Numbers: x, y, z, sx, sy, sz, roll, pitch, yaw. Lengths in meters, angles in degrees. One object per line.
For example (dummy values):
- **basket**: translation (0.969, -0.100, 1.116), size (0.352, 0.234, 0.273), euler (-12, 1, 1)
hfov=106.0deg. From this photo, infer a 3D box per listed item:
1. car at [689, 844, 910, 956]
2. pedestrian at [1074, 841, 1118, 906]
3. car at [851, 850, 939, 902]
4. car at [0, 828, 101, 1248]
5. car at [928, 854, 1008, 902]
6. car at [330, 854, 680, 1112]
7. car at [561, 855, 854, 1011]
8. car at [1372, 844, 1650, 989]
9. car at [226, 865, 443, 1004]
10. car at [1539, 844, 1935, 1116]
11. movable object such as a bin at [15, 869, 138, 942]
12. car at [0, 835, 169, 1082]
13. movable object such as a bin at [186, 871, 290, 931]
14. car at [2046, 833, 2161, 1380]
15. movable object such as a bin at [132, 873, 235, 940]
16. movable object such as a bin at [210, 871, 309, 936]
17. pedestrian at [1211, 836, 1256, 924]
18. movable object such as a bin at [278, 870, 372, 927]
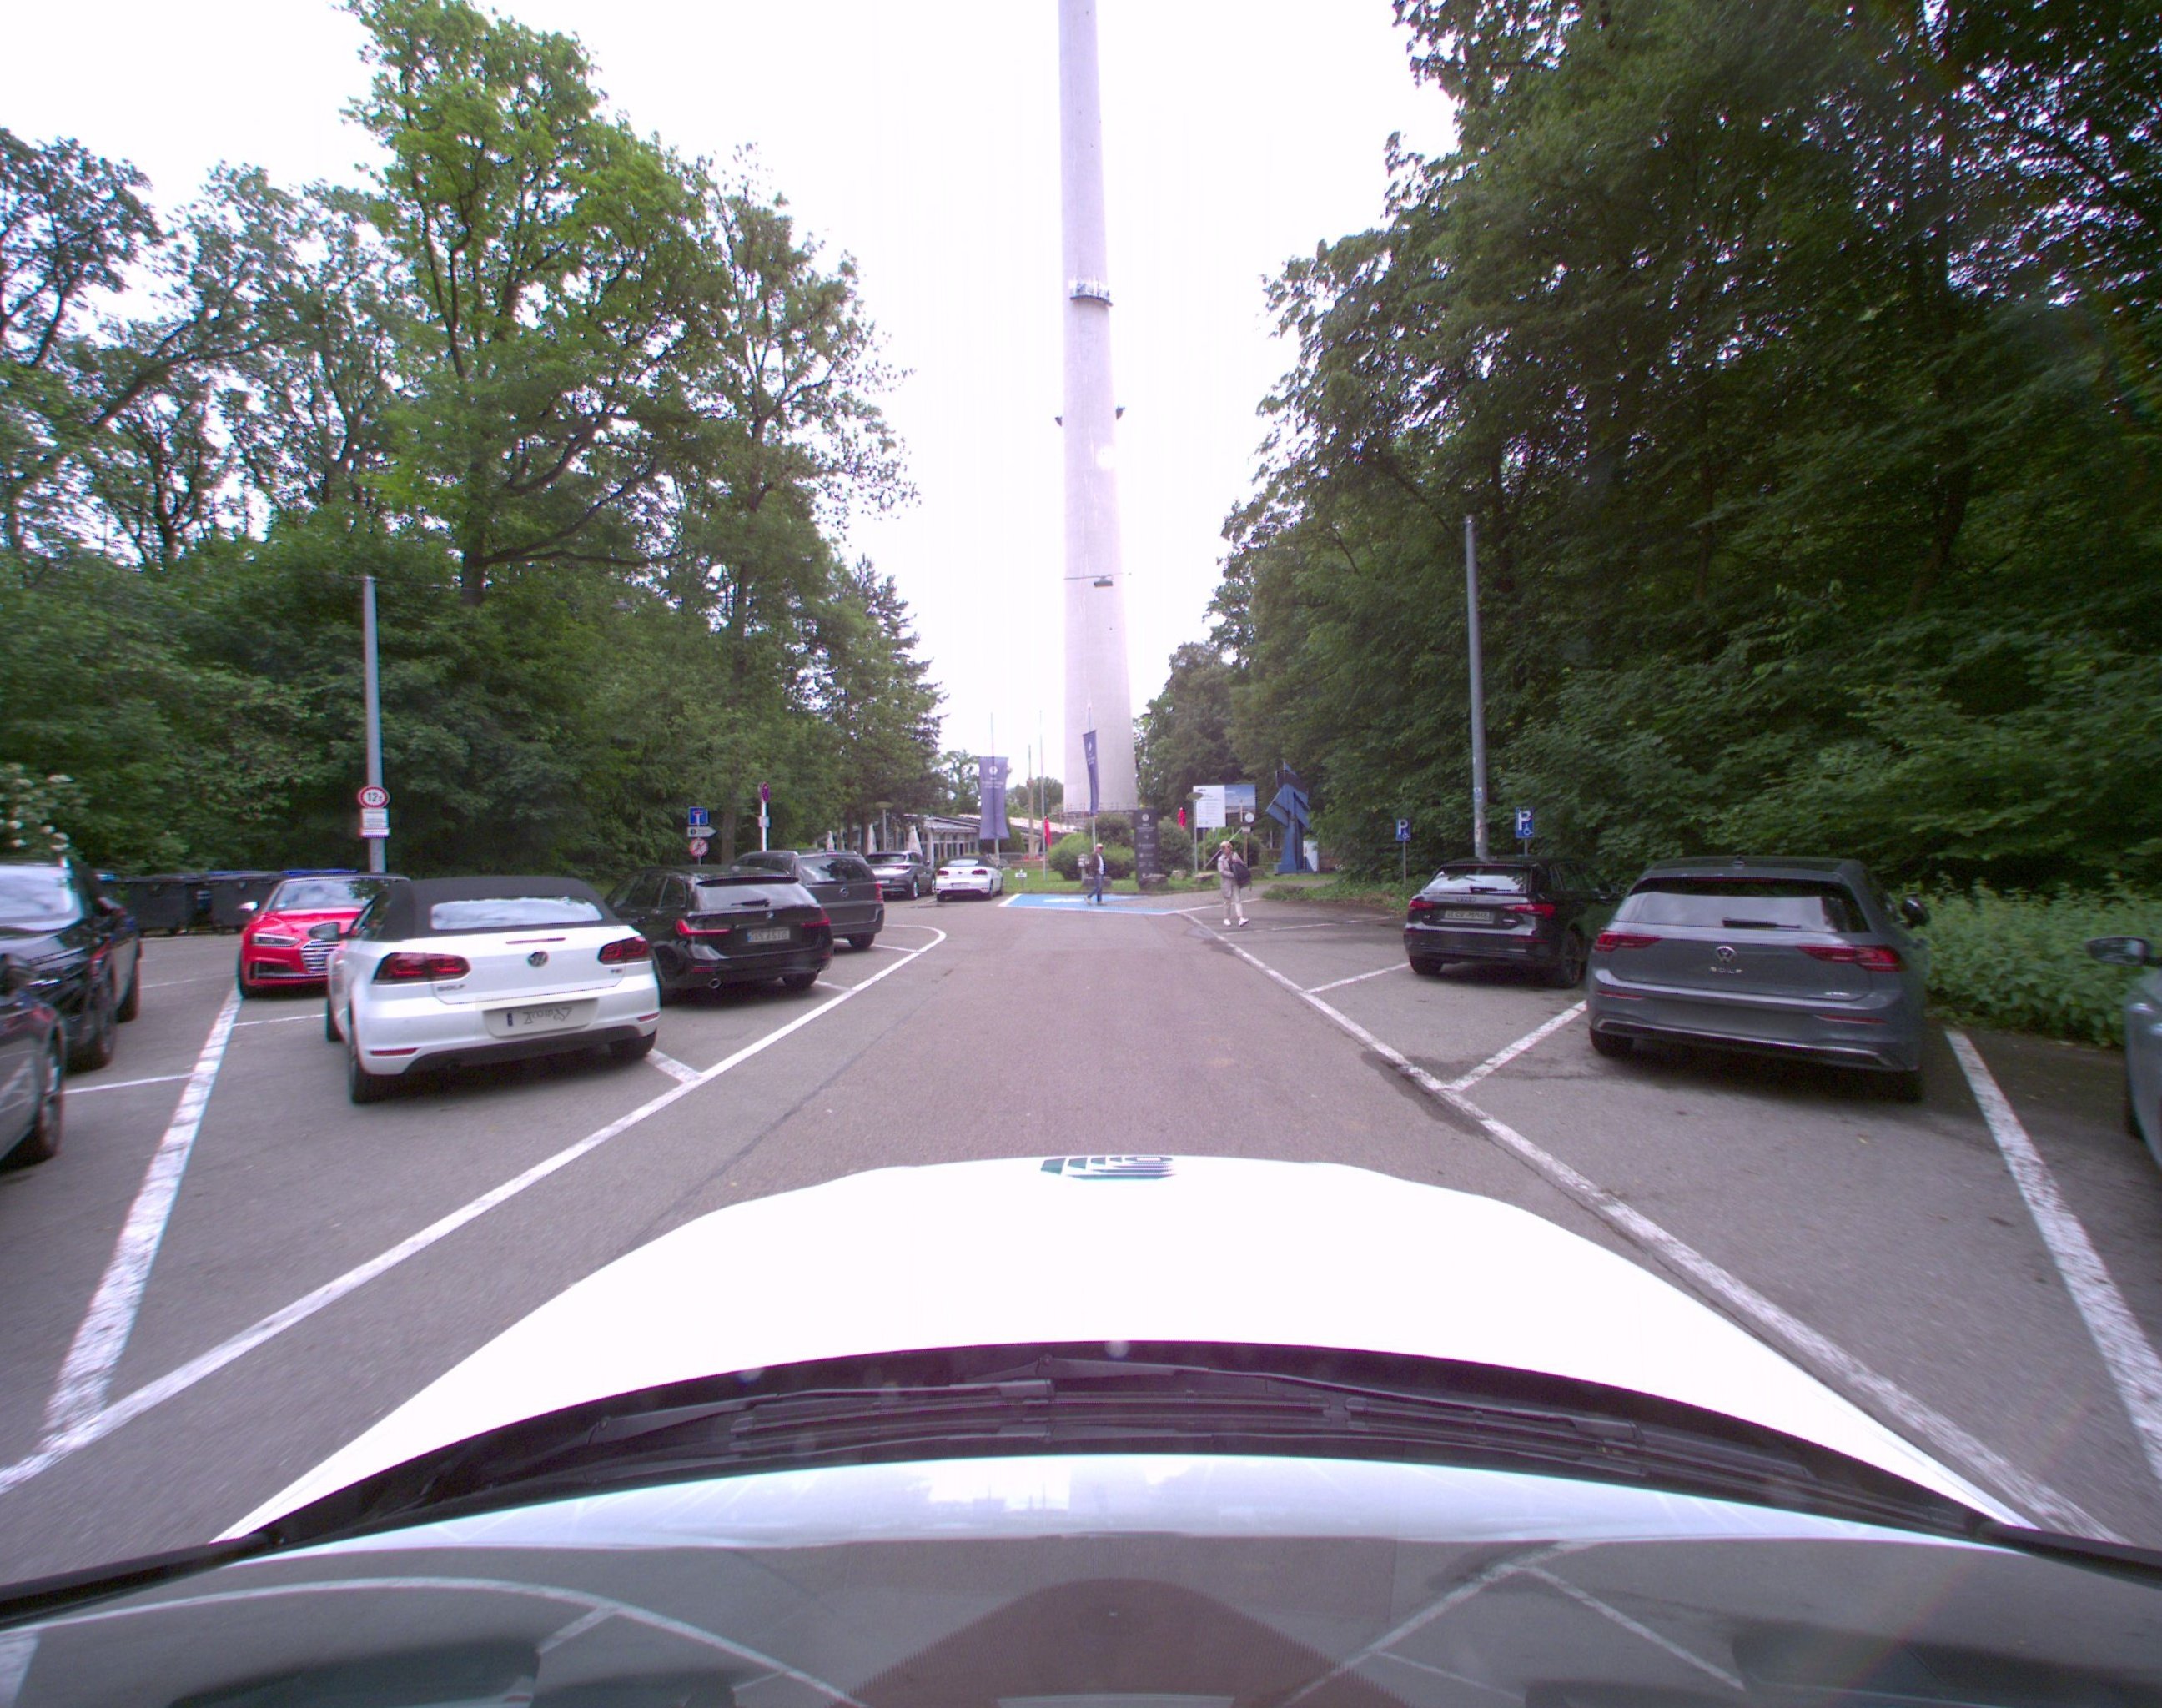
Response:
- **car**: translation (-4.951, 0.681, 13.969), size (4.333, 1.609, 1.840), euler (-1, 0, 45)
- **pedestrian**: translation (0.418, 0.522, 22.441), size (0.885, 1.725, 0.769), euler (-1, 0, 38)
- **car**: translation (-6.180, 0.676, 27.521), size (1.885, 1.585, 4.003), euler (-1, 0, 3)
- **car**: translation (-5.033, 0.714, 2.702), size (1.858, 1.587, 3.928), euler (-2, 1, -44)
- **car**: translation (-3.634, 0.723, 26.806), size (1.885, 1.428, 4.002), euler (-1, 0, 2)
- **car**: translation (-4.850, 0.753, 6.622), size (1.783, 1.443, 3.799), euler (-1, 0, -44)
- **car**: translation (-4.615, 0.765, 9.734), size (4.225, 1.443, 1.770), euler (-1, 0, 44)
- **car**: translation (5.615, 0.622, 10.381), size (4.228, 1.462, 1.876), euler (-1, 0, -43)
- **car**: translation (-9.764, 0.882, 10.666), size (1.779, 1.394, 4.338), euler (-1, 0, -44)
- **car**: translation (5.292, 0.660, 6.407), size (4.023, 1.422, 1.886), euler (-1, 0, -44)
- **movable object such as a bin**: translation (-20.606, 1.033, 16.743), size (1.118, 1.425, 1.132), euler (-1, 0, 4)
- **car**: translation (-8.940, 0.732, 6.598), size (3.950, 1.663, 1.910), euler (-1, 0, 44)
- **movable object such as a bin**: translation (-19.823, 1.076, 19.187), size (1.121, 1.320, 1.238), euler (-1, 0, -3)
- **car**: translation (4.927, 0.652, 2.951), size (4.021, 1.467, 1.814), euler (-2, 1, -40)
- **movable object such as a bin**: translation (-19.045, 1.081, 17.328), size (1.130, 1.314, 1.173), euler (-1, 0, -29)
- **movable object such as a bin**: translation (-17.964, 1.050, 17.855), size (1.176, 1.307, 1.301), euler (-1, 0, -29)
- **pedestrian**: translation (3.067, 0.519, 16.476), size (0.759, 1.725, 0.897), euler (-1, 0, 2)
- **movable object such as a bin**: translation (-18.713, 1.077, 20.202), size (1.254, 1.325, 1.142), euler (-1, 0, -12)
